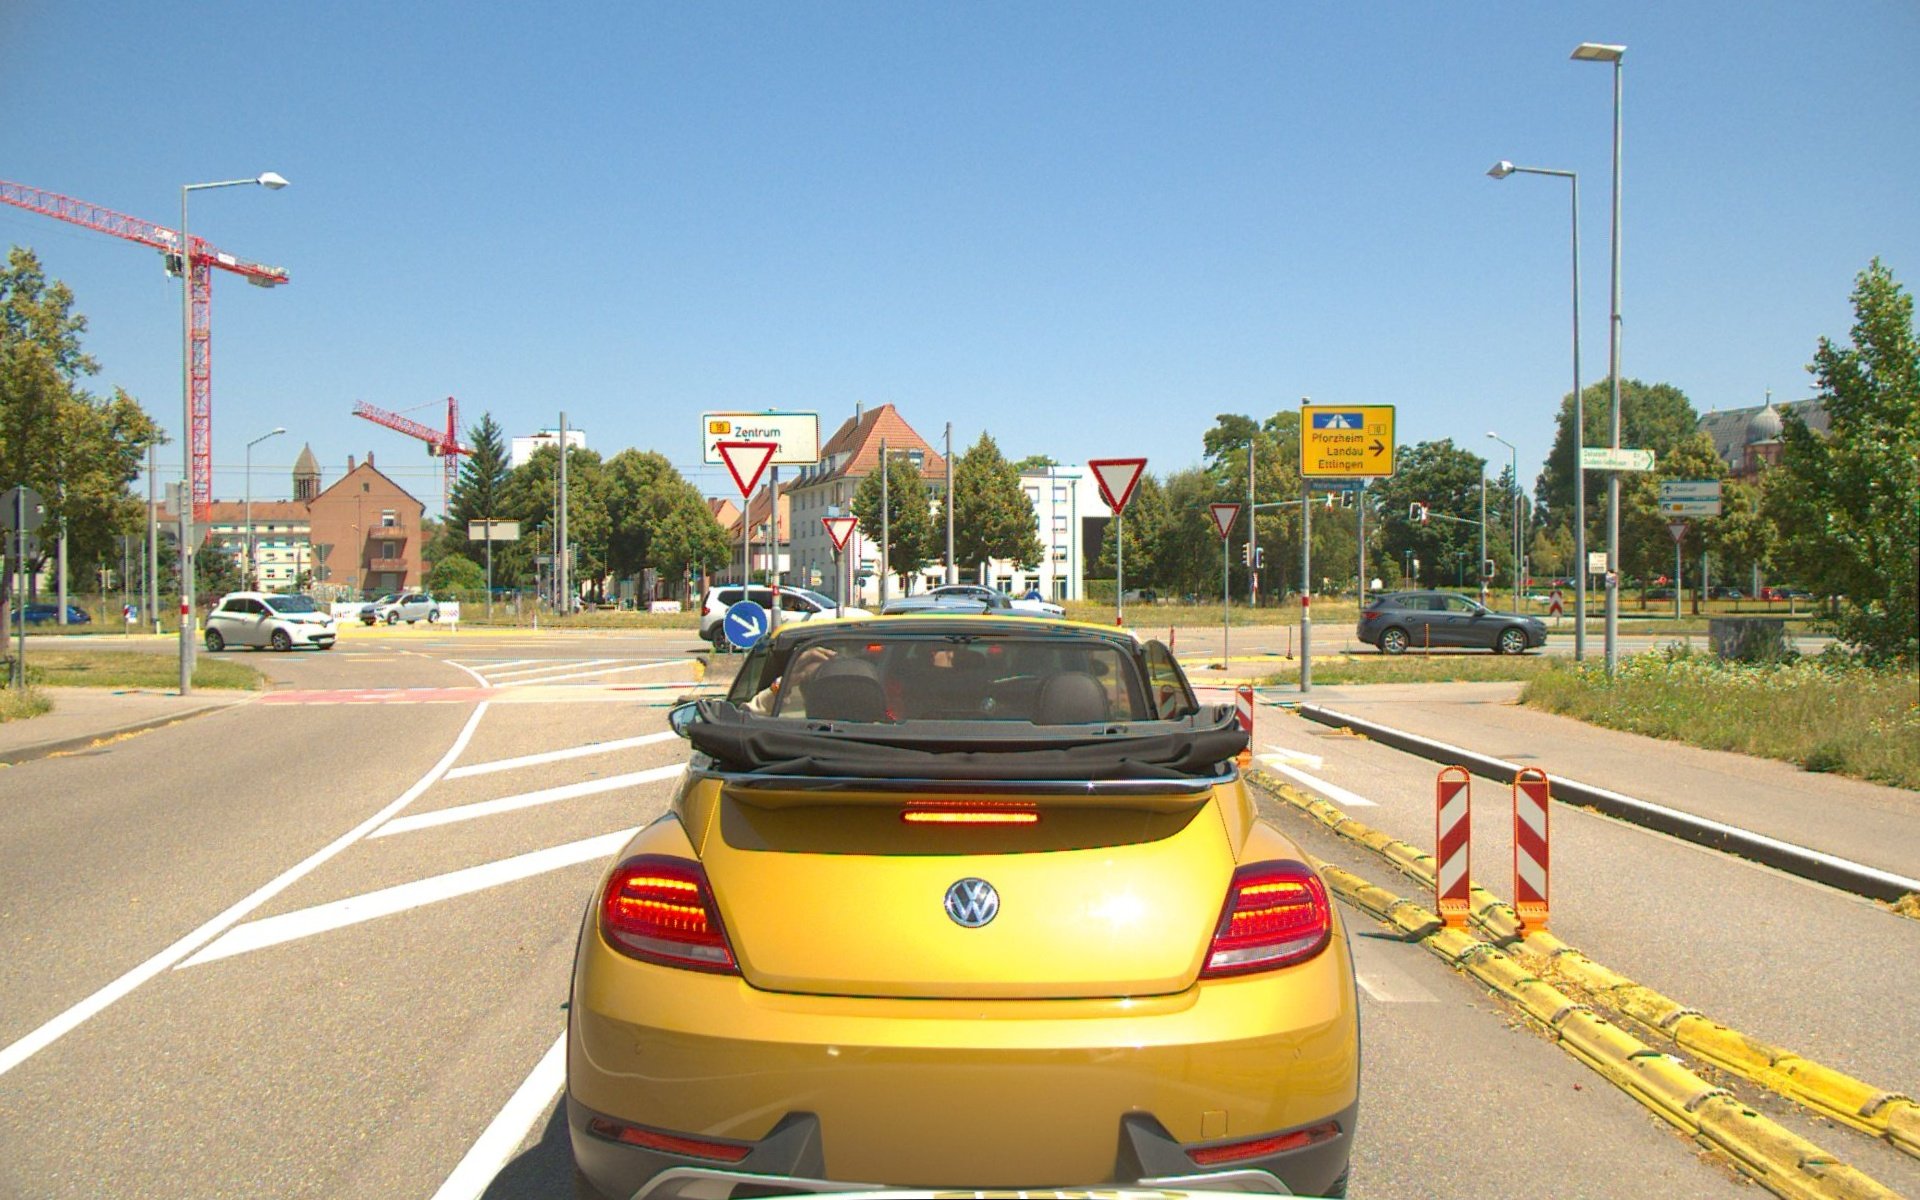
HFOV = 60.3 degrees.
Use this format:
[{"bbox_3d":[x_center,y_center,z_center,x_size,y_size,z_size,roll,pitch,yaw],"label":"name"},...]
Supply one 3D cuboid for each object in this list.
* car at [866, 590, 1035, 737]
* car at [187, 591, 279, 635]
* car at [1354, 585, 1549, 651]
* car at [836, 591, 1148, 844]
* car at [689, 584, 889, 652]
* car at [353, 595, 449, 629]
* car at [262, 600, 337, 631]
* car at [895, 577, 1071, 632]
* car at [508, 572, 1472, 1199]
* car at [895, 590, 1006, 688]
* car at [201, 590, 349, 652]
[{"bbox_3d":[-0.121,0.634,18.648,1.701,1.467,3.999,0,0,-1],"label":"car"},{"bbox_3d":[-27.475,0.473,62.630,1.720,1.576,3.999,0,0,-1],"label":"car"},{"bbox_3d":[11.449,0.403,38.797,4.115,1.467,2.002,0,0,7],"label":"car"},{"bbox_3d":[0.164,0.681,11.639,1.810,1.467,3.999,0,0,-1],"label":"car"},{"bbox_3d":[-4.185,0.415,40.759,4.477,1.593,2.002,0,0,14],"label":"car"},{"bbox_3d":[-26.239,0.559,77.782,1.676,1.526,4.210,0,0,32],"label":"car"},{"bbox_3d":[-27.848,0.619,69.805,1.672,1.258,3.786,0,0,-1],"label":"car"},{"bbox_3d":[0.705,0.122,47.466,4.885,1.536,2.001,0,0,6],"label":"car"},{"bbox_3d":[0.027,0.675,4.839,1.717,1.447,3.776,0,0,-1],"label":"car"},{"bbox_3d":[-0.178,0.600,27.449,1.701,1.503,3.999,0,0,-1],"label":"car"},{"bbox_3d":[-19.110,0.567,46.134,3.921,1.648,1.678,0,0,27],"label":"car"}]
